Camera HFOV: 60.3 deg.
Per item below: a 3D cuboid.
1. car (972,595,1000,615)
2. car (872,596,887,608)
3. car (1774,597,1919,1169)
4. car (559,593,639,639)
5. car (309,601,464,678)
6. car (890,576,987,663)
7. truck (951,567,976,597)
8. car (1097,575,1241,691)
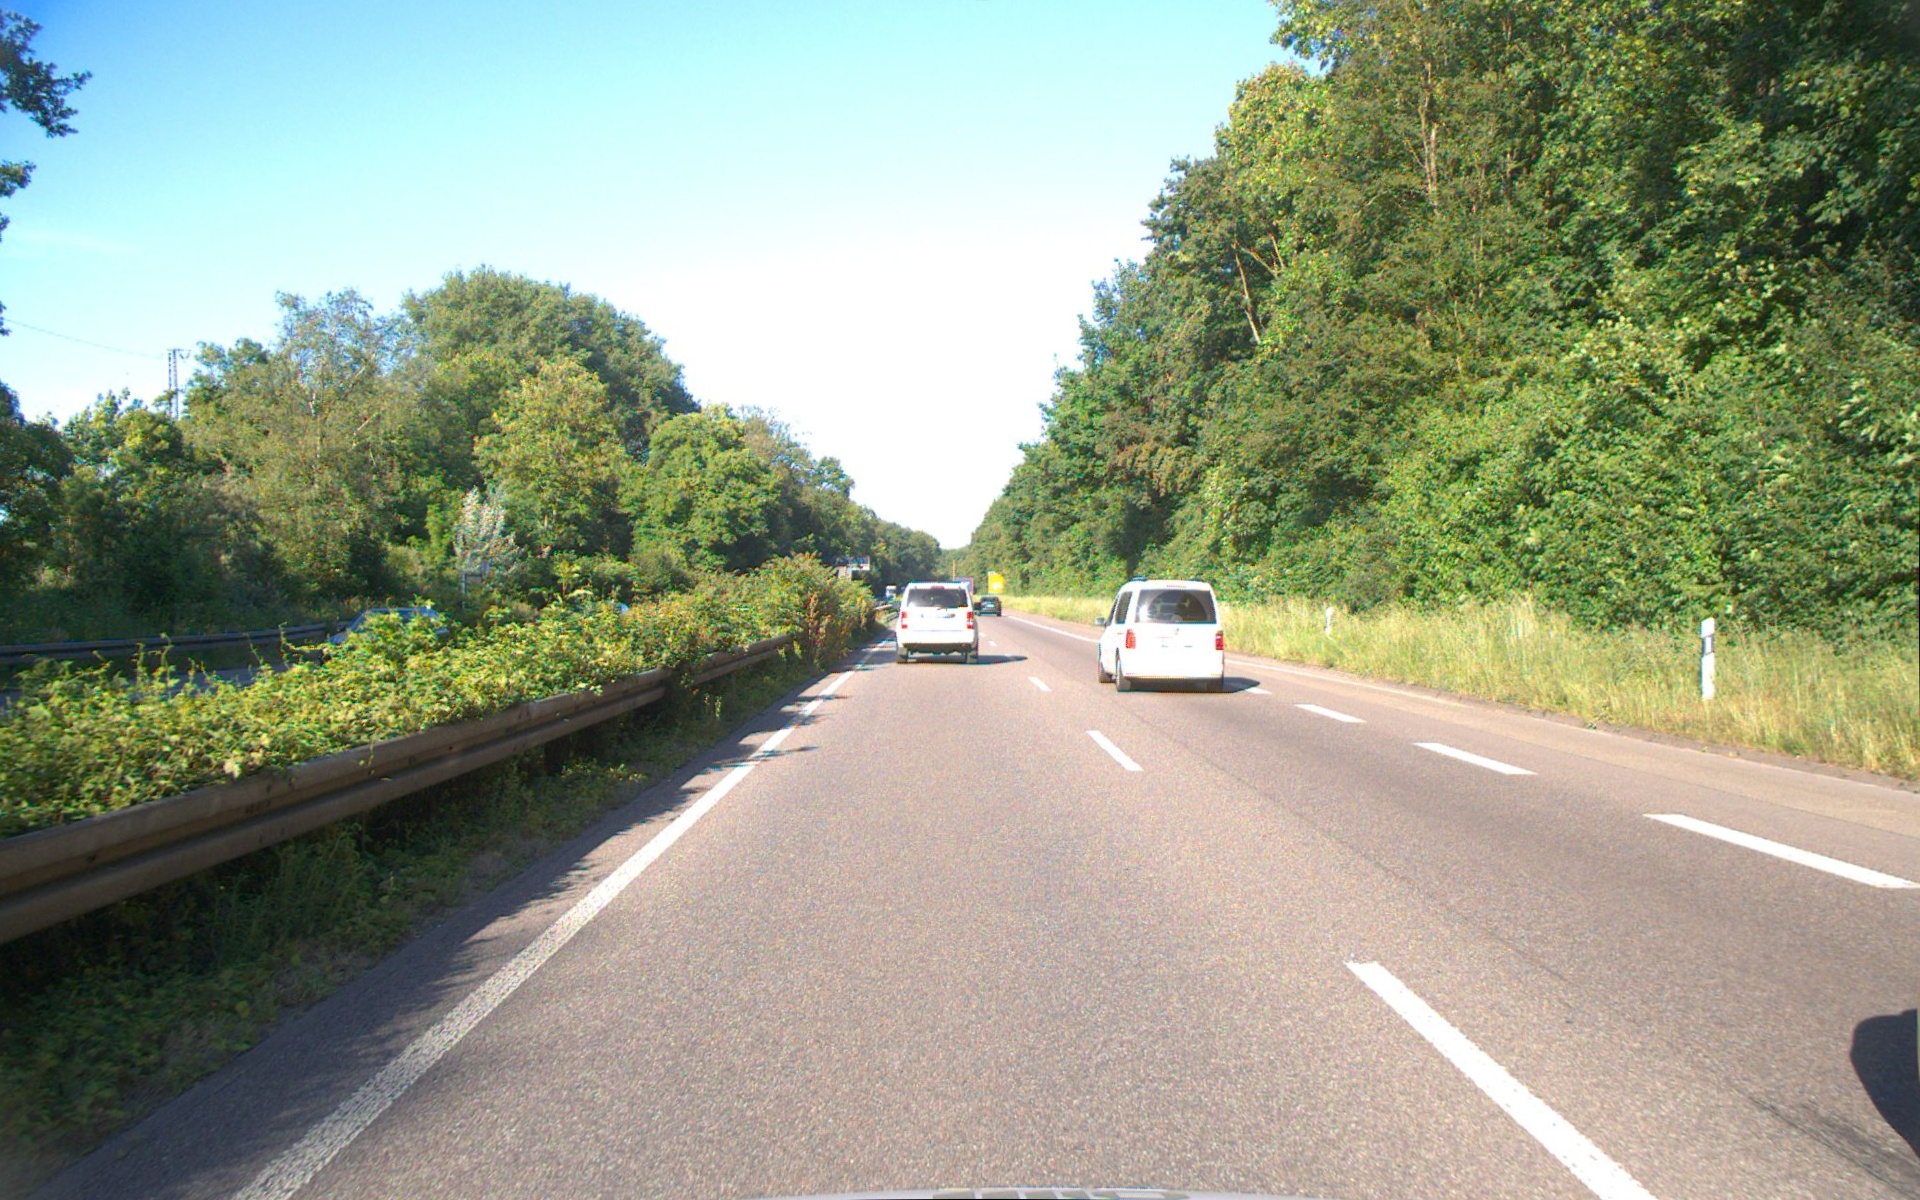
[{"bbox_3d":[1.948,0.347,123.835,1.953,1.422,3.999,1,0,-1],"label":"car"},{"bbox_3d":[-10.611,0.217,217.653,1.839,1.567,4.463,0,0,-1],"label":"car"},{"bbox_3d":[3.454,0.752,2.902,1.841,1.487,4.355,0,0,-1],"label":"car"},{"bbox_3d":[-12.209,0.525,56.196,1.921,1.475,4.504,0,0,-3],"label":"car"},{"bbox_3d":[-12.053,0.780,35.070,1.921,1.475,4.504,1,0,-3],"label":"car"},{"bbox_3d":[-0.544,0.409,37.362,2.043,1.860,3.998,0,0,-3],"label":"car"},{"bbox_3d":[0.530,-2.576,241.041,3.425,4.245,8.860,-1,0,-1],"label":"truck"},{"bbox_3d":[3.460,0.501,28.147,1.825,1.801,4.469,1,0,-1],"label":"car"}]
